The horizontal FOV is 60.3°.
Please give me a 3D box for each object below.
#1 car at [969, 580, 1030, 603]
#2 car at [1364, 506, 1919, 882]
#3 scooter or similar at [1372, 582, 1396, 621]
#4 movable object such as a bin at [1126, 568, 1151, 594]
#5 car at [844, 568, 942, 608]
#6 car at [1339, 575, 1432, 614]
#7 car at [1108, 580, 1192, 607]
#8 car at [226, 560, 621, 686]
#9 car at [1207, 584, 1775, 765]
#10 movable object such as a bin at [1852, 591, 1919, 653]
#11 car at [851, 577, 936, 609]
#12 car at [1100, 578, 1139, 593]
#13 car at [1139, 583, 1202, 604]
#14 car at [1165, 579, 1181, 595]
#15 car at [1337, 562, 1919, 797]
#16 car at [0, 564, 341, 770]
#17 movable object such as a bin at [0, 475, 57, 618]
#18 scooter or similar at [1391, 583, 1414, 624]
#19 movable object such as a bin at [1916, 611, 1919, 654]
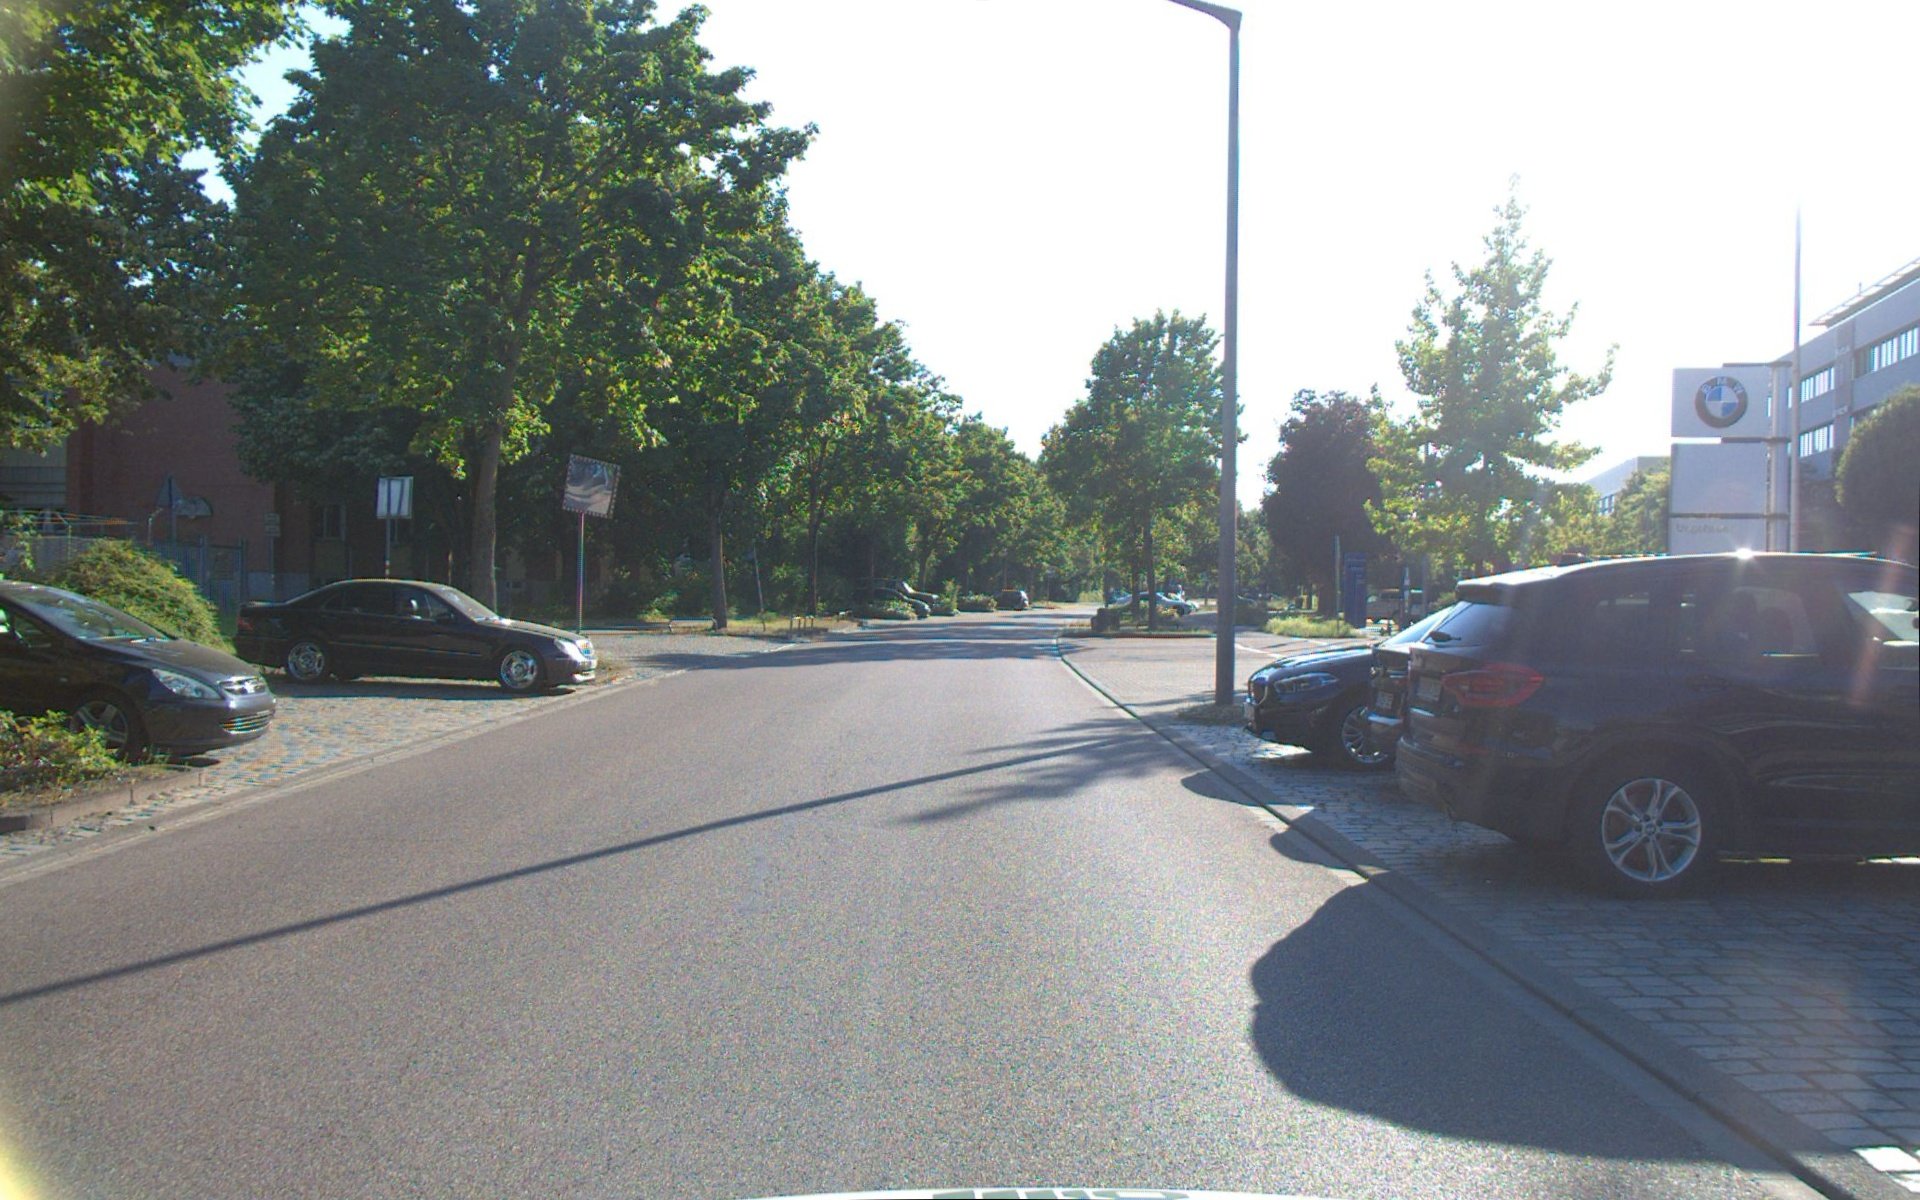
[{"bbox_3d":[2.992,-0.640,125.193,4.266,1.504,2.002,3,1,10],"label":"car"},{"bbox_3d":[4.747,0.451,9.047,4.596,1.781,2.193,1,1,3],"label":"car"},{"bbox_3d":[14.016,0.043,54.655,0.509,1.294,1.388,1,1,4],"label":"scooter or similar"},{"bbox_3d":[22.554,-2.419,209.268,2.778,3.122,4.931,3,1,9],"label":"movable object such as a bin"},{"bbox_3d":[-3.553,-0.651,88.360,4.898,2.055,2.176,1,0,6],"label":"car"},{"bbox_3d":[23.433,-0.326,91.202,1.975,1.967,4.899,0,2,-33],"label":"car"},{"bbox_3d":[11.804,-0.413,102.634,5.065,1.601,2.159,1,1,7],"label":"car"},{"bbox_3d":[-7.530,0.303,23.605,4.933,1.487,2.000,3,1,-1],"label":"car"},{"bbox_3d":[4.564,0.613,14.734,4.390,1.428,2.033,1,1,-1],"label":"car"},{"bbox_3d":[20.089,0.467,35.733,1.093,1.290,1.039,1,0,6],"label":"movable object such as a bin"},{"bbox_3d":[-3.364,-0.354,84.580,4.122,1.557,1.707,1,0,6],"label":"car"},{"bbox_3d":[19.003,-1.732,197.053,4.266,1.574,2.002,3,1,14],"label":"car"},{"bbox_3d":[15.639,-0.473,122.892,4.268,1.505,2.000,-1,0,20],"label":"car"},{"bbox_3d":[33.182,-2.019,257.734,2.463,2.427,4.376,1,0,6],"label":"car"},{"bbox_3d":[5.265,0.541,12.462,4.389,1.577,2.034,1,1,0],"label":"car"},{"bbox_3d":[-7.793,0.471,13.859,4.389,1.487,2.000,3,1,-1],"label":"car"},{"bbox_3d":[-19.674,-1.059,33.176,2.141,2.711,4.743,0,1,-36],"label":"movable object such as a bin"},{"bbox_3d":[14.131,0.095,52.813,0.509,1.294,1.201,0,1,4],"label":"scooter or similar"},{"bbox_3d":[21.180,0.720,35.940,0.494,0.937,0.605,1,0,9],"label":"movable object such as a bin"}]
